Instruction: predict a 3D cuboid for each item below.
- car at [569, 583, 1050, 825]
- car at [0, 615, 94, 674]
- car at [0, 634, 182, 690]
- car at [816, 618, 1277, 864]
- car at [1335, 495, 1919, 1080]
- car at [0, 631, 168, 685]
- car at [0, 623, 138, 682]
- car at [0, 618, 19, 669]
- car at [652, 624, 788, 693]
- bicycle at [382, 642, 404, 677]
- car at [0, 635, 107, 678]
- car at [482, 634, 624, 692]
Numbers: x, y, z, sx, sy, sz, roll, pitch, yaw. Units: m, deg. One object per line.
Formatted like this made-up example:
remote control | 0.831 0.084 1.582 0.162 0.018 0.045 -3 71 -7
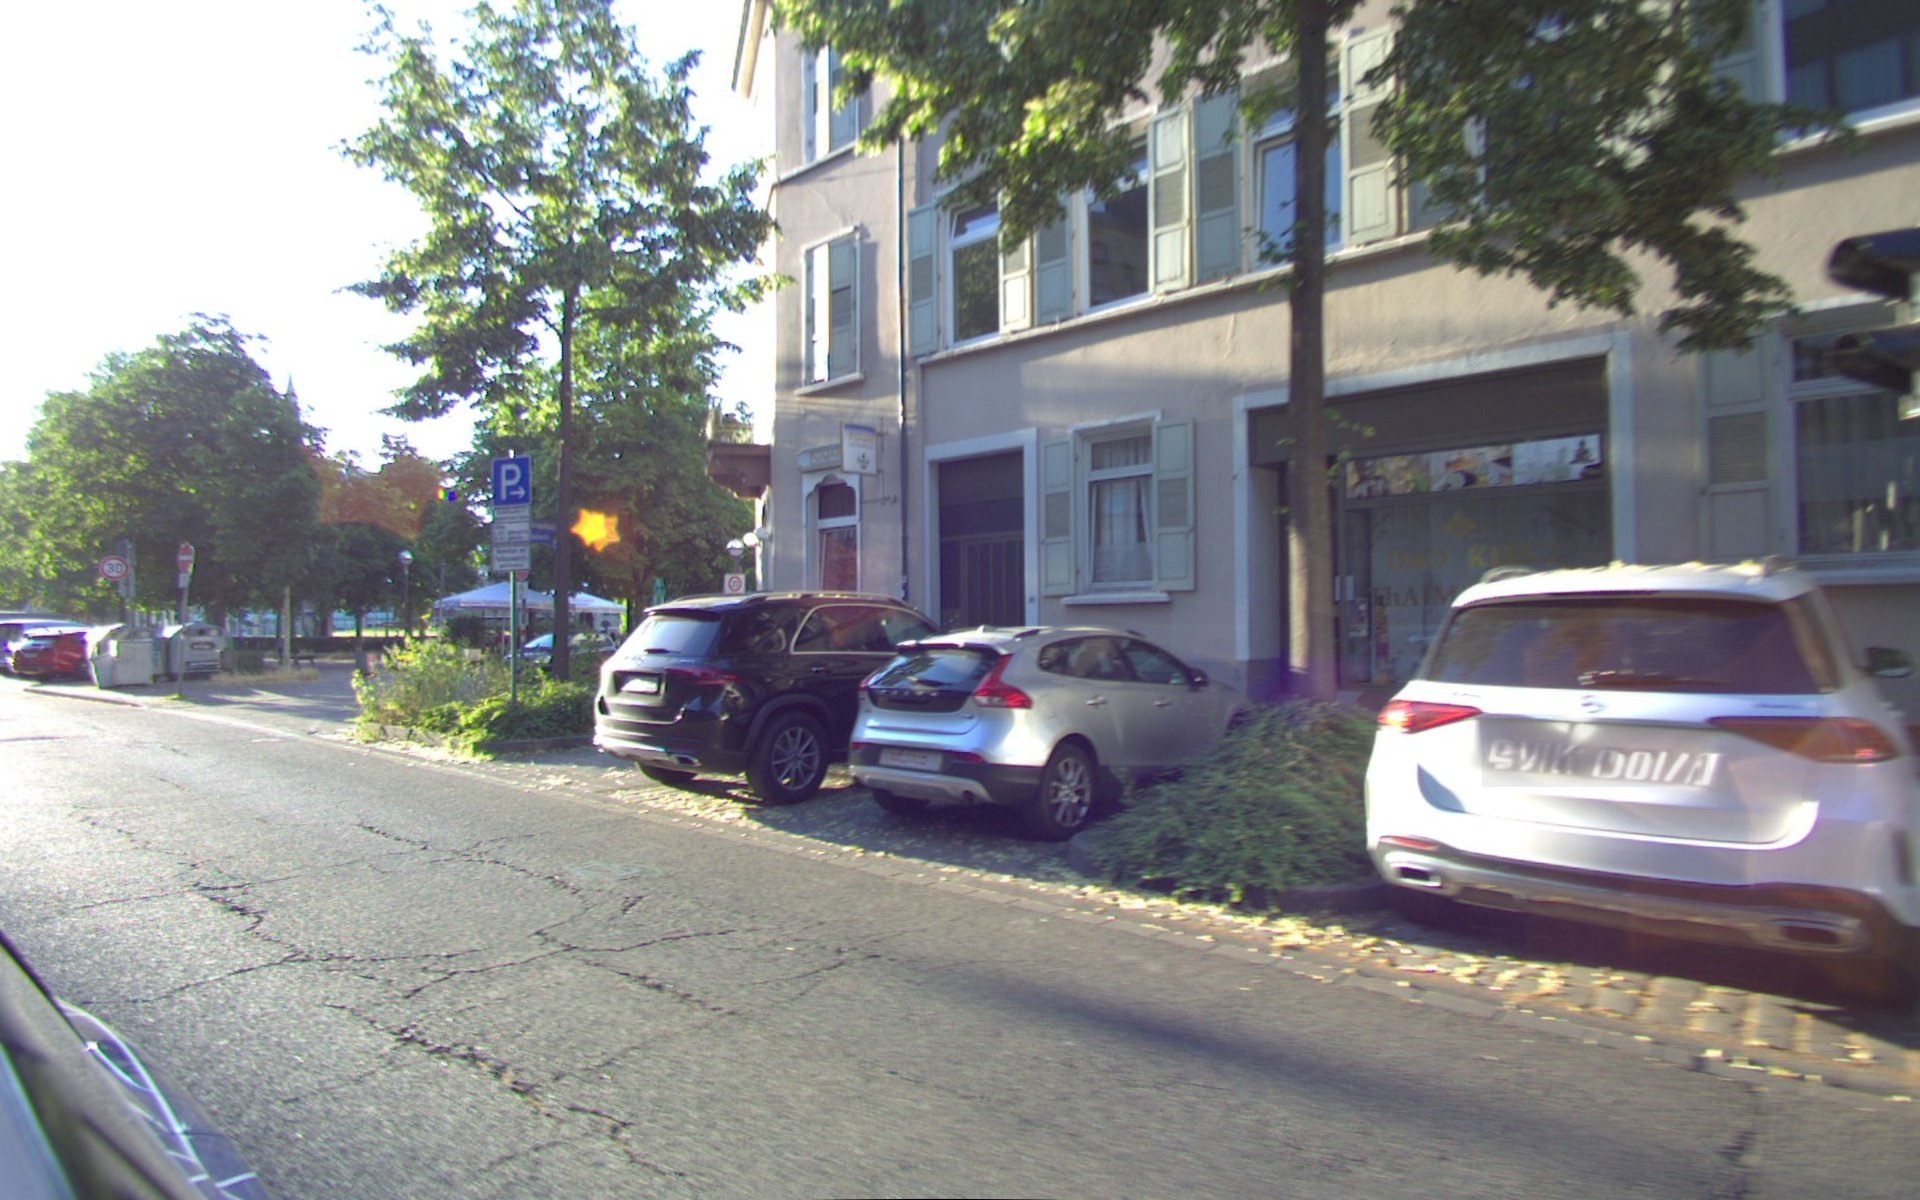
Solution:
car | -1.202 0.822 9.886 1.945 1.796 4.509 -1 -2 40
car | -39.575 1.863 42.347 2.136 2.376 4.755 -1 -2 13
car | -26.755 1.843 31.254 1.790 1.569 4.566 -1 -2 3
car | 0.877 0.910 8.207 1.820 1.473 3.775 -2 -2 42
car | 3.957 0.590 5.425 2.052 1.825 4.657 -2 -1 42
car | -29.202 1.884 33.753 1.876 1.645 4.566 -1 -2 3
car | -31.851 1.814 35.692 1.876 1.948 4.566 -1 -2 3
car | -46.431 2.031 46.187 2.136 2.376 4.755 -1 -2 13
car | -6.441 1.535 27.636 1.981 1.741 3.980 -1 -2 15
bicycle | -18.072 1.902 32.274 0.573 1.041 1.861 -1 -3 -28
car | -37.142 2.217 40.291 2.114 1.594 4.553 -1 -2 12
car | -11.585 1.746 29.096 1.797 1.519 3.980 -1 -2 15
